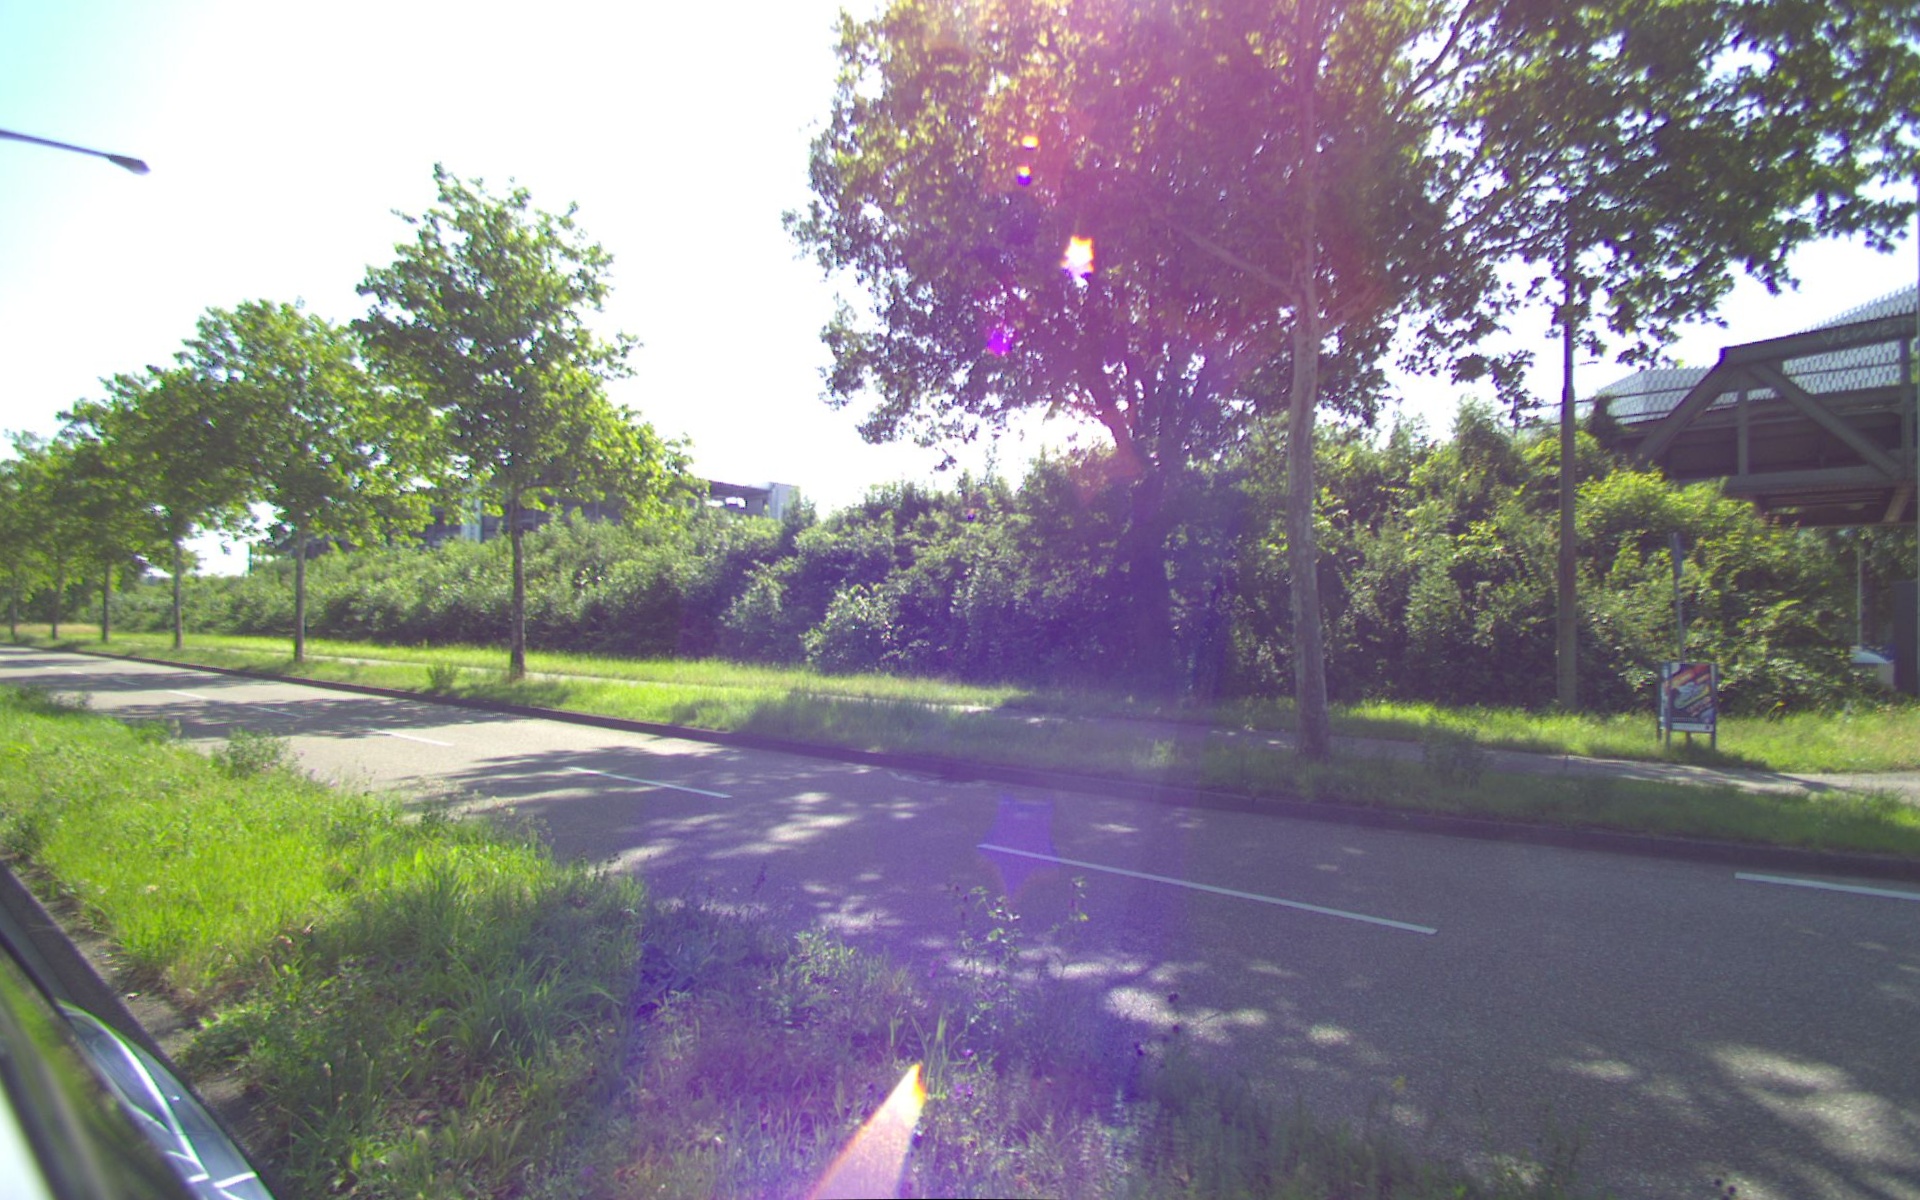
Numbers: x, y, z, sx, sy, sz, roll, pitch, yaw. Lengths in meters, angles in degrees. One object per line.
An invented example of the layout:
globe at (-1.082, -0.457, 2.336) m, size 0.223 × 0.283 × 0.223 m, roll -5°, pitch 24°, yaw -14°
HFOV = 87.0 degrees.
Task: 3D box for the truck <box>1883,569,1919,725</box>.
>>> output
truck at (20.180, 0.795, 17.642) m, size 2.191 × 3.130 × 6.853 m, roll 0°, pitch -3°, yaw 5°
